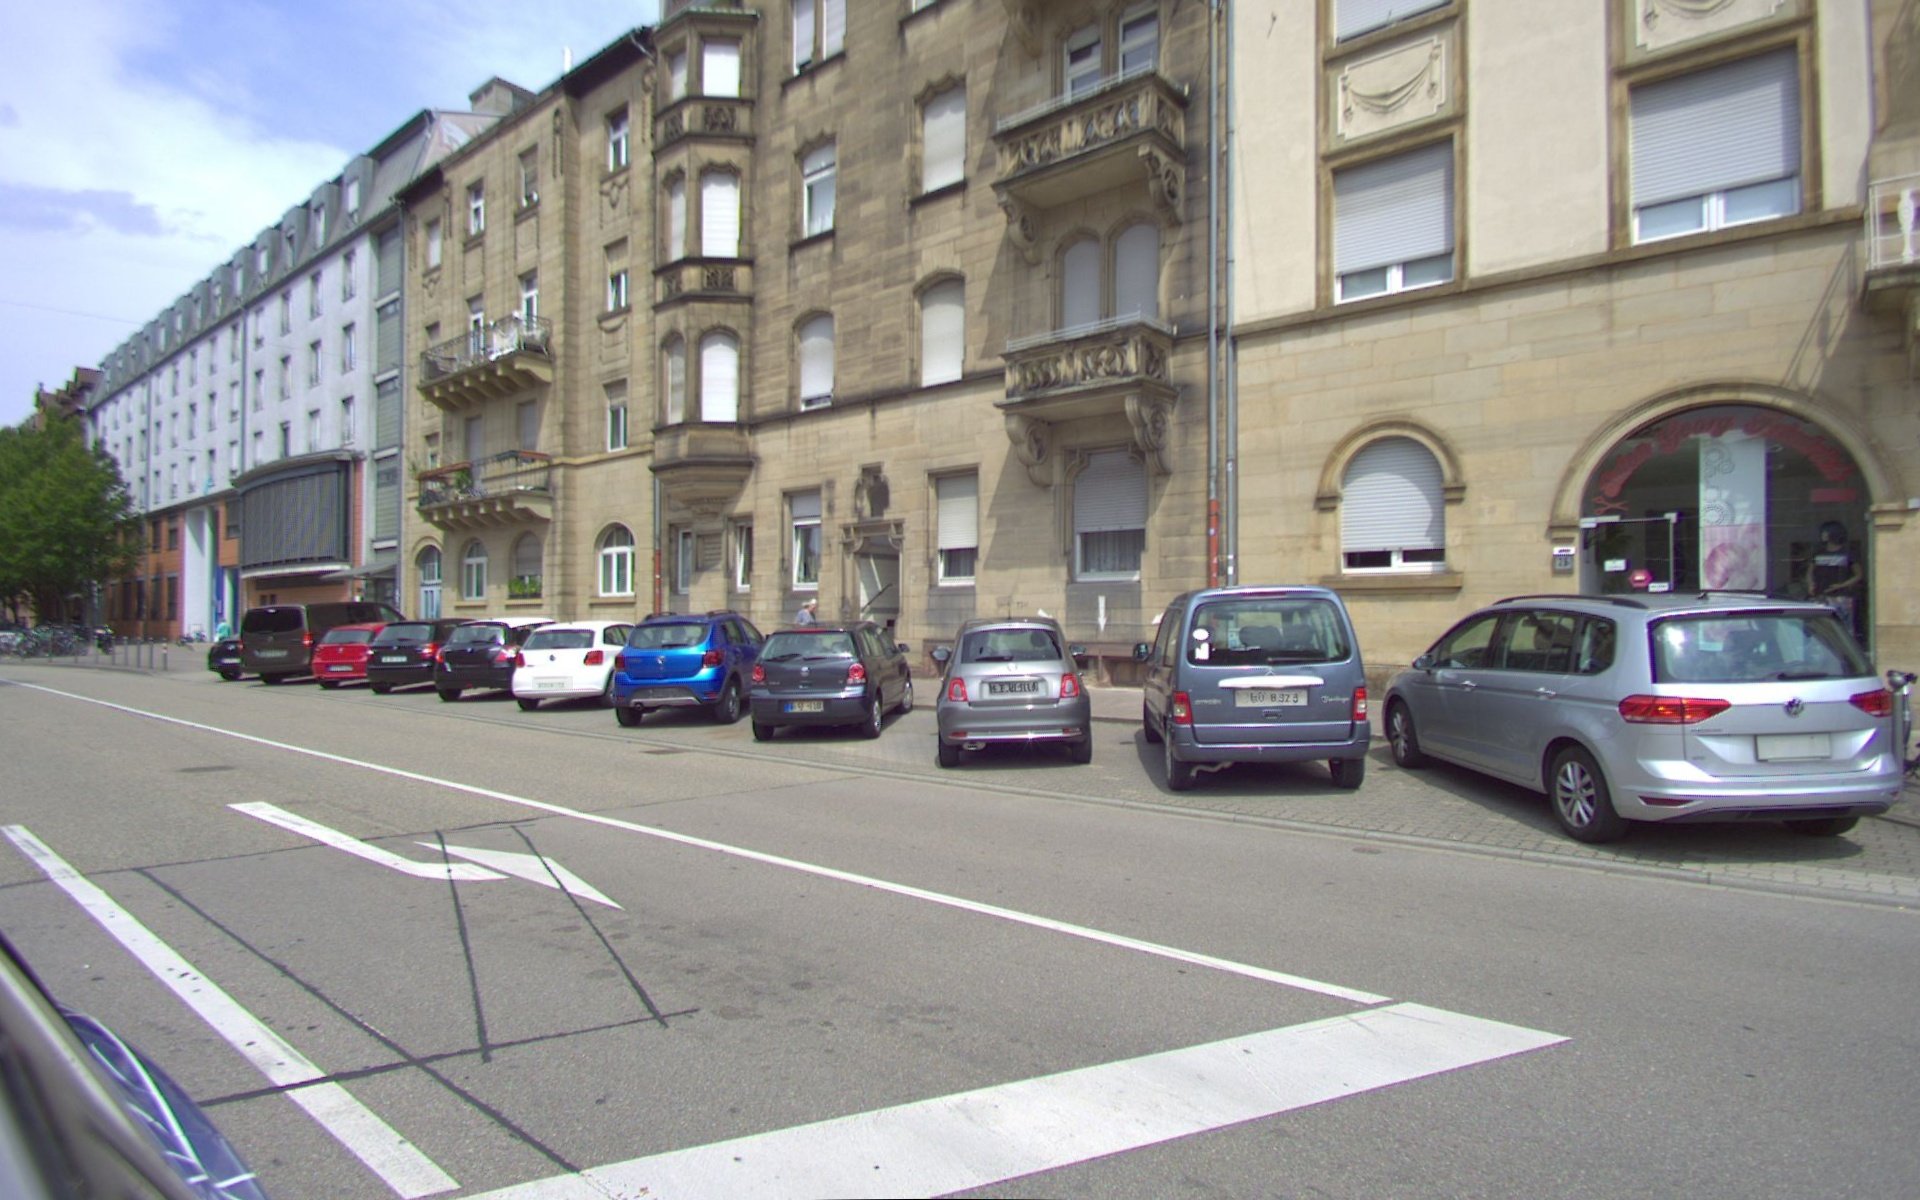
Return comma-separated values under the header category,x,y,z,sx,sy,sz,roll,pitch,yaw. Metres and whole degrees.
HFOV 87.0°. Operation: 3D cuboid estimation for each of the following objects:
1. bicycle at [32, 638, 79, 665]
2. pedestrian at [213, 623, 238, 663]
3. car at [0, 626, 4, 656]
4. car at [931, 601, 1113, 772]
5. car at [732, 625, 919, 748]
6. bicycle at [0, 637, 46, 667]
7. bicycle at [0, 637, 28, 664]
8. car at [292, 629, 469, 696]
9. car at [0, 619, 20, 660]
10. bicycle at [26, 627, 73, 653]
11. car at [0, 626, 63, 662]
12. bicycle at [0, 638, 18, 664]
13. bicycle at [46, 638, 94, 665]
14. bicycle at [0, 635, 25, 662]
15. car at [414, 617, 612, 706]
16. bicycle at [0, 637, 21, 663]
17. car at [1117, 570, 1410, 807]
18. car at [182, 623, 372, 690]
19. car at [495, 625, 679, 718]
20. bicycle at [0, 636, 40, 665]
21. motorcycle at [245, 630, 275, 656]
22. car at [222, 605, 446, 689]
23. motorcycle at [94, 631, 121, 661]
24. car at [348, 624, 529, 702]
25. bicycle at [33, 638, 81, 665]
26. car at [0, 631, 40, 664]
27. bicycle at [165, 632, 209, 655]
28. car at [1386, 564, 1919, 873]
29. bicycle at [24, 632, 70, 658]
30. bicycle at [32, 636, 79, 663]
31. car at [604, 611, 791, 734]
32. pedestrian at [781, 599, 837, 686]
category,x,y,z,sx,sy,sz,roll,pitch,yaw
bicycle,-36.435,2.067,40.779,0.401,1.034,1.391,-2,-2,42
pedestrian,-27.807,1.606,38.310,0.508,1.497,0.653,-2,-2,38
car,-52.871,2.163,52.978,1.692,1.627,3.997,-1,-2,7
car,0.640,0.899,11.885,1.772,1.664,4.010,0,-2,1
car,-1.682,1.079,13.949,1.814,1.454,3.898,0,-2,4
bicycle,-35.697,1.968,38.461,0.401,1.046,1.391,-2,0,42
bicycle,-38.009,2.018,40.203,0.401,1.046,1.391,-2,0,42
car,-13.317,1.390,23.576,1.772,1.420,4.010,0,-2,1
car,-48.642,1.960,49.190,1.843,2.013,3.990,-1,0,12
bicycle,-37.444,1.648,41.617,0.401,1.034,1.391,-2,-2,42
car,-42.011,1.929,44.377,1.583,1.557,3.998,0,-2,6
bicycle,-40.069,2.151,41.978,0.401,1.034,1.391,-2,0,42
bicycle,-34.966,2.010,39.765,0.401,1.034,1.391,-2,-2,42
bicycle,-38.502,1.952,40.617,0.401,1.034,1.391,-2,0,42
car,-8.729,1.163,20.170,1.776,1.576,4.002,0,-2,8
bicycle,-39.460,2.056,41.451,0.401,1.034,1.391,-2,0,42
car,2.746,0.767,10.156,1.772,1.893,4.010,0,-2,1
car,-18.208,1.455,27.297,1.874,1.420,4.670,-2,1,1
car,-6.494,1.195,18.040,1.719,1.493,3.681,0,-2,4
bicycle,-36.414,1.937,38.995,0.401,1.046,1.391,-2,0,42
motorcycle,-29.221,1.802,42.240,1.655,1.057,0.578,-2,-1,39
car,-15.661,1.148,25.765,2.095,1.924,5.261,0,-2,6
motorcycle,-34.493,1.844,40.935,1.779,1.181,0.577,-2,-1,42
car,-11.143,1.298,21.953,1.611,1.514,3.990,0,-2,5
bicycle,-36.042,2.050,40.414,0.401,1.034,1.391,-2,-2,42
car,-44.232,2.150,45.400,1.697,1.480,4.308,0,-2,6
bicycle,-37.550,2.112,49.165,1.590,0.933,0.933,-6,2,-38
car,5.038,0.740,7.895,1.772,1.787,4.010,0,-2,1
bicycle,-37.812,1.874,41.926,0.401,1.034,1.391,-2,-2,42
bicycle,-36.763,2.002,41.145,0.401,1.034,1.391,-2,-2,42
car,-3.902,1.039,15.700,1.702,1.664,3.773,0,-2,4
pedestrian,-2.888,0.798,19.346,0.678,1.607,0.783,-1,0,40
